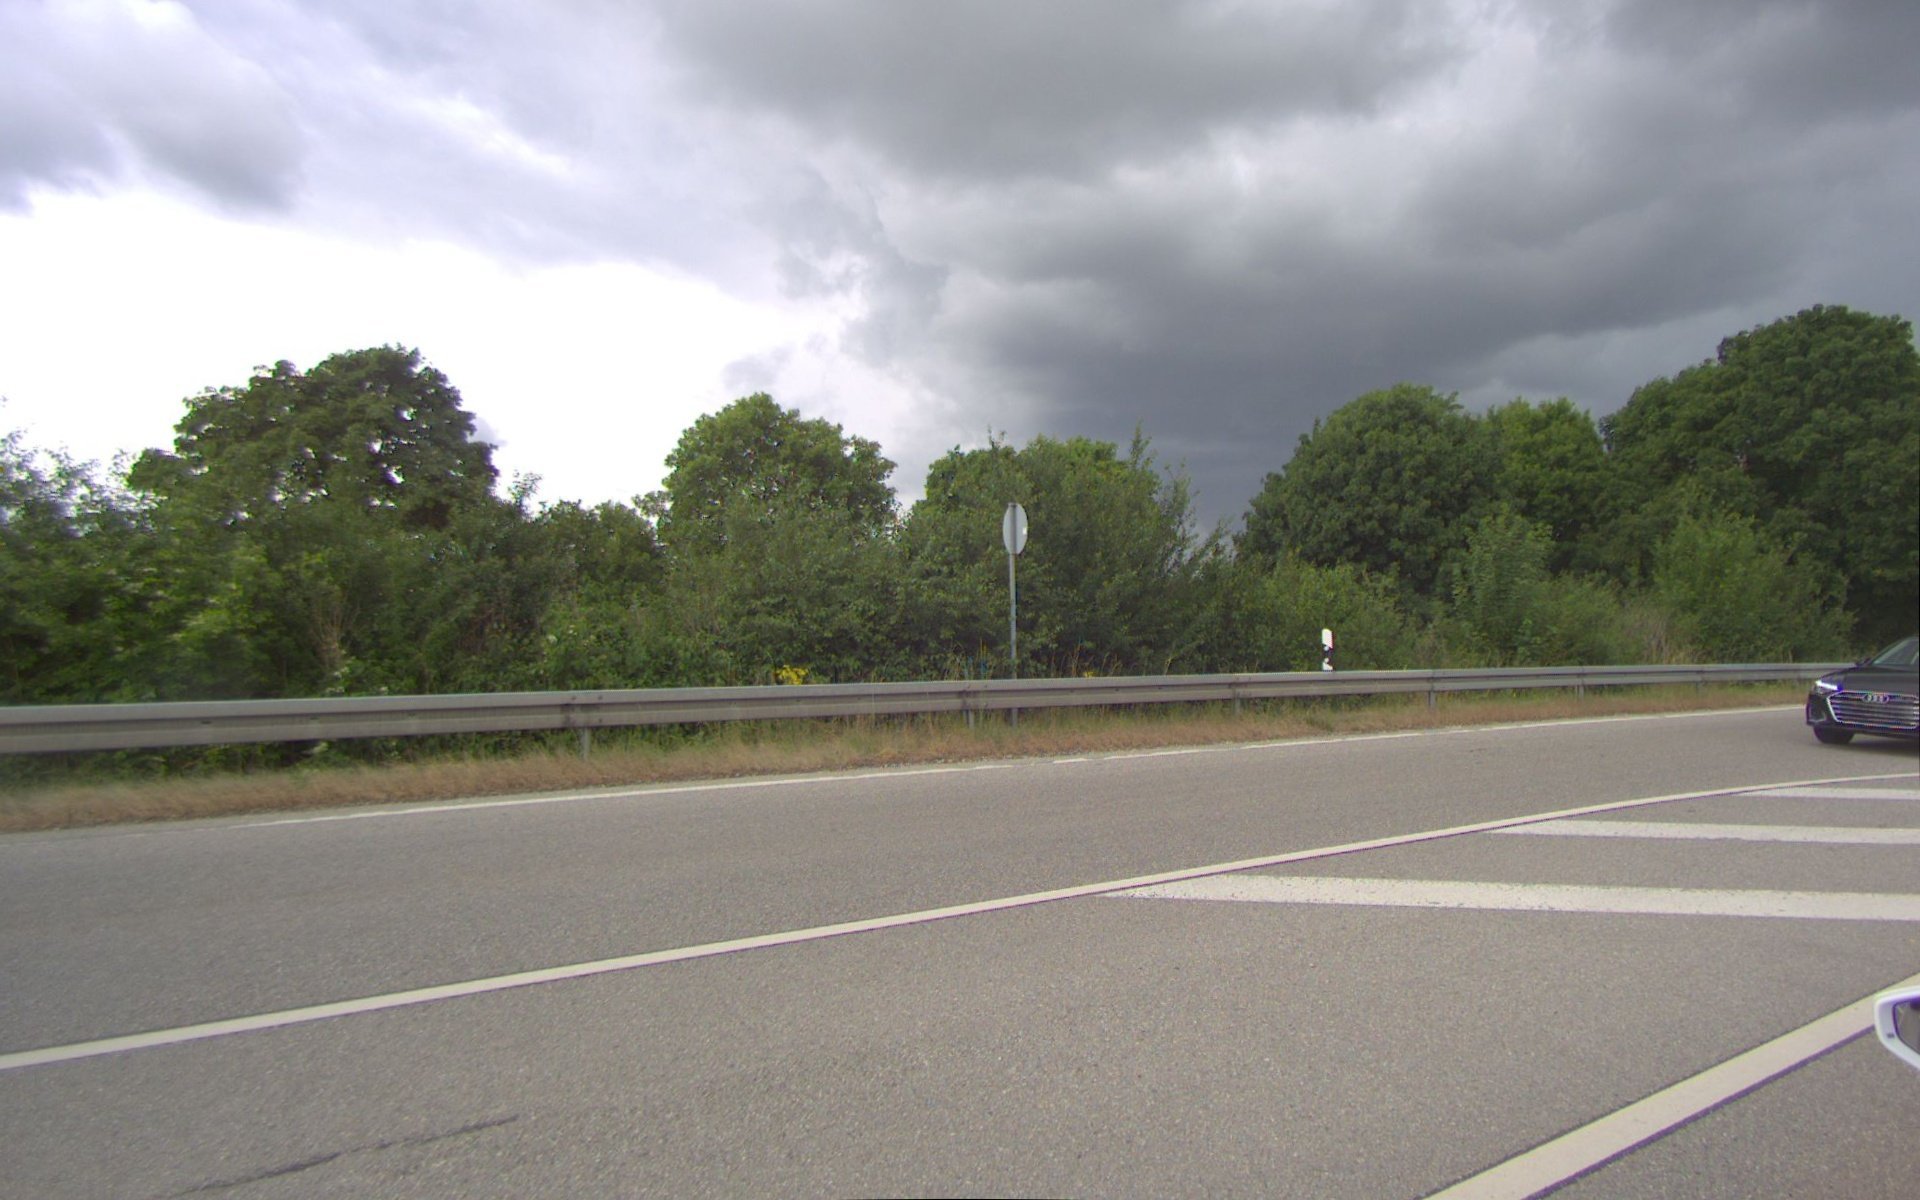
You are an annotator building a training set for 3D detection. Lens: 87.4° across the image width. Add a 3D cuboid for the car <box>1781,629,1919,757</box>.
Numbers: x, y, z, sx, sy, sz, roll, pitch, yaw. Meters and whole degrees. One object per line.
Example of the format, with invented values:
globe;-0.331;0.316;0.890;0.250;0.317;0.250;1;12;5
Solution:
car;12.497;1.094;12.488;4.550;1.392;1.815;1;-1;-26
